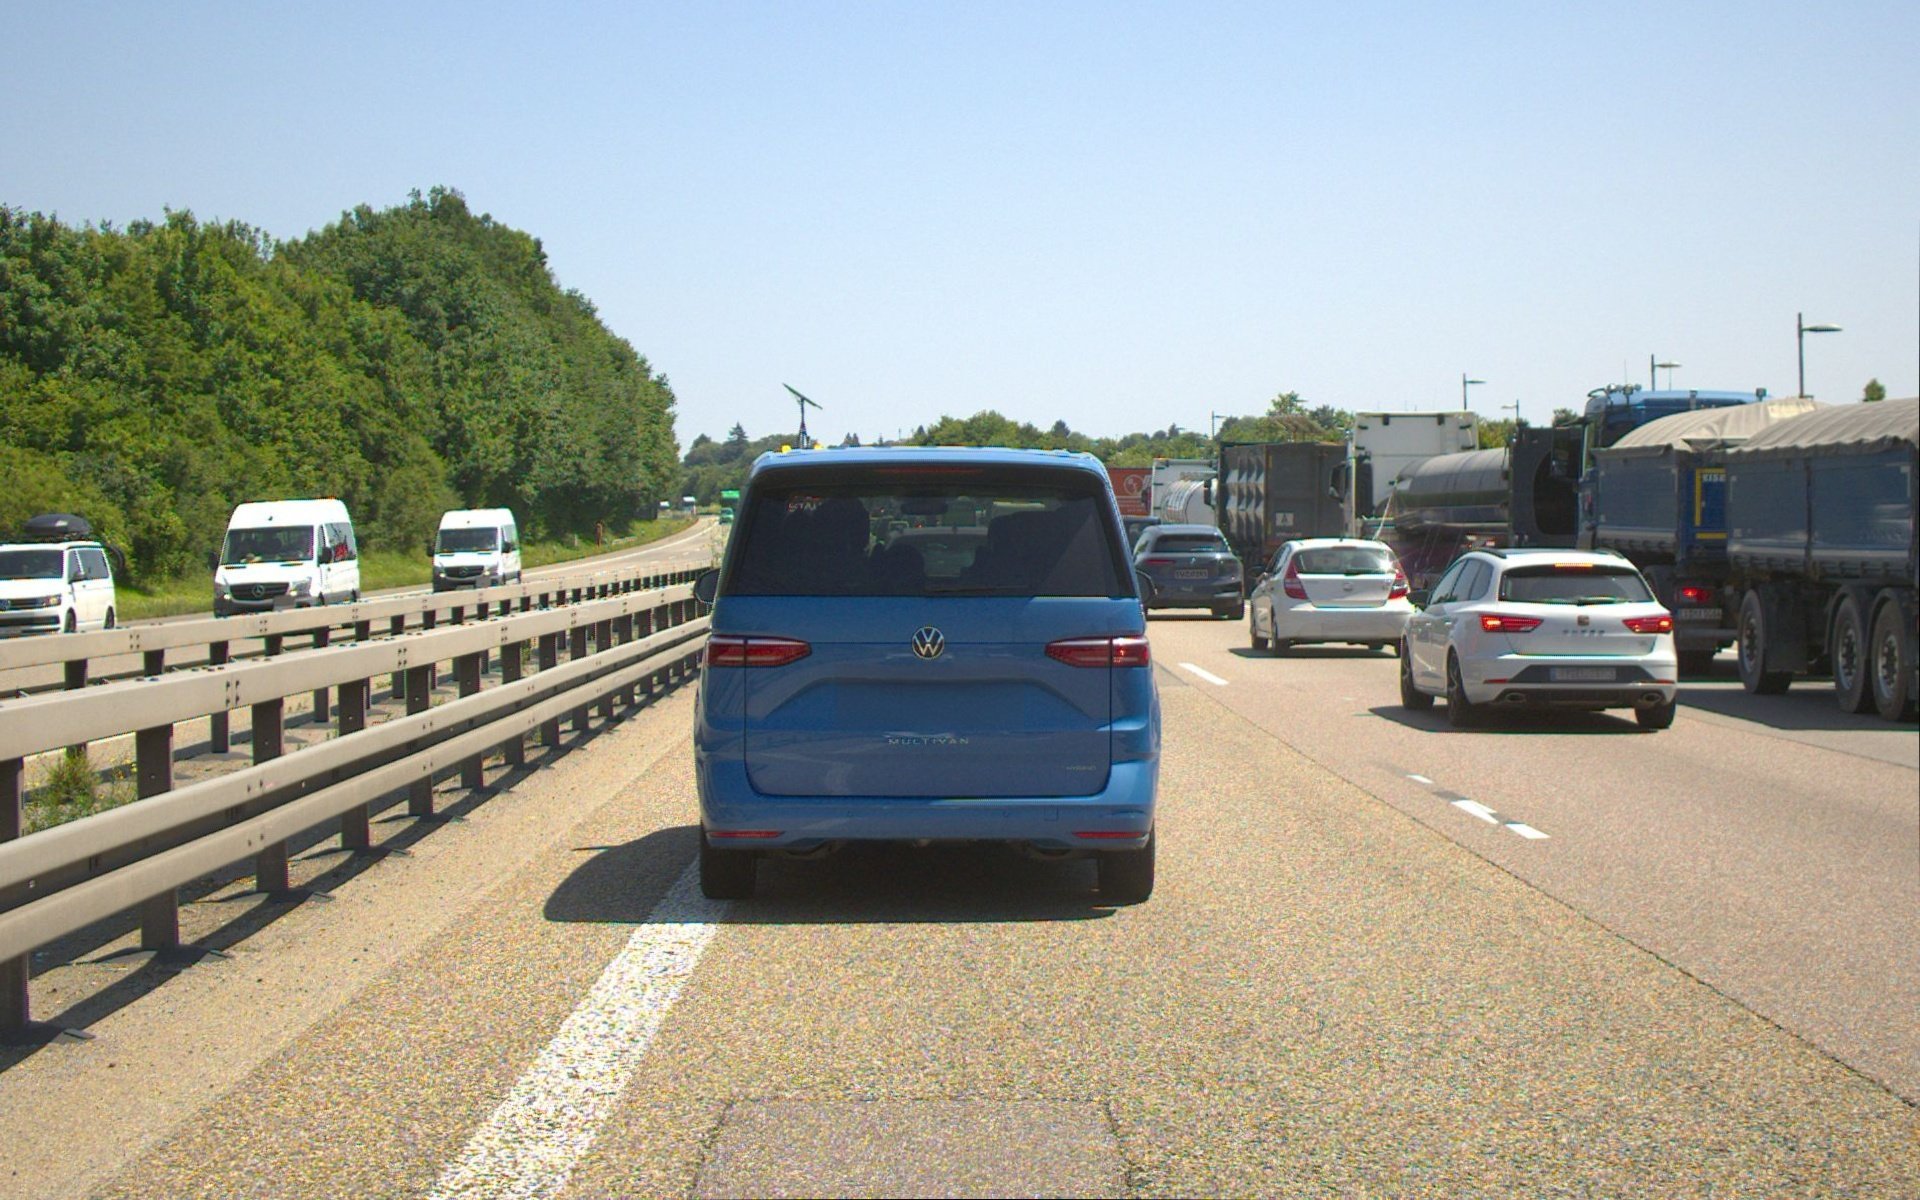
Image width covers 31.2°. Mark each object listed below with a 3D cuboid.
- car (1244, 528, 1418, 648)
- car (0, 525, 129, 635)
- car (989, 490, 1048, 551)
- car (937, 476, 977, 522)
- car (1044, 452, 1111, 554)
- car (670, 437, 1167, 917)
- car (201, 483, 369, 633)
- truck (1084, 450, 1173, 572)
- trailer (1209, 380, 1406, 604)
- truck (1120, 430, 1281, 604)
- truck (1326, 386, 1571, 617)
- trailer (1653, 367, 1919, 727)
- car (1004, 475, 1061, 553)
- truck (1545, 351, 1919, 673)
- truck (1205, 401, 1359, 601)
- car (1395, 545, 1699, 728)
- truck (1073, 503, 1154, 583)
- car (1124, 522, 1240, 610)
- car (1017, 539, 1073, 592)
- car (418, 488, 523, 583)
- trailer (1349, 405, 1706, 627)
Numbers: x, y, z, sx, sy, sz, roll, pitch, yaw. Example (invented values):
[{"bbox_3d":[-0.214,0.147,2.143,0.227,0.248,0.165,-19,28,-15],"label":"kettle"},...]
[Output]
[{"bbox_3d":[4.716,-0.159,44.162,1.840,1.449,4.000,1,0,1],"label":"car"},{"bbox_3d":[-16.920,-0.370,63.540,1.864,1.898,5.493,-2,1,-2],"label":"car"},{"bbox_3d":[2.671,-3.651,158.867,2.550,2.708,5.621,1,0,0],"label":"car"},{"bbox_3d":[-0.230,-7.468,255.174,2.485,3.193,7.373,1,0,-3],"label":"car"},{"bbox_3d":[6.238,-5.106,183.456,3.218,5.239,8.144,1,0,0],"label":"car"},{"bbox_3d":[-0.125,0.280,15.311,1.901,1.831,4.000,1,0,1],"label":"car"},{"bbox_3d":[-13.096,-0.812,67.054,2.052,2.642,5.839,-4,1,-1],"label":"car"},{"bbox_3d":[7.014,-3.656,144.866,3.068,4.903,10.691,1,0,-1],"label":"truck"},{"bbox_3d":[8.494,-2.539,85.838,3.646,5.118,13.076,1,0,0],"label":"trailer"},{"bbox_3d":[7.626,-2.568,111.622,3.621,5.195,15.690,1,0,-2],"label":"truck"},{"bbox_3d":[9.142,-1.790,65.265,3.626,4.080,7.524,1,0,1],"label":"truck"},{"bbox_3d":[8.687,-0.546,31.561,2.743,2.827,9.116,1,2,0],"label":"trailer"},{"bbox_3d":[4.972,-5.901,237.689,3.218,5.239,8.145,1,0,-4],"label":"car"},{"bbox_3d":[8.688,-1.025,39.219,2.743,3.300,7.133,1,2,0],"label":"truck"},{"bbox_3d":[8.578,-2.599,92.393,3.659,5.162,5.708,1,0,1],"label":"truck"},{"bbox_3d":[4.732,0.246,28.259,1.867,1.356,4.000,1,1,1],"label":"car"},{"bbox_3d":[3.669,-1.362,82.784,1.725,1.851,4.000,1,0,0],"label":"truck"},{"bbox_3d":[3.972,-0.608,61.976,1.781,1.519,4.000,1,0,0],"label":"car"},{"bbox_3d":[3.256,-1.326,132.197,1.993,2.007,4.000,1,0,0],"label":"car"},{"bbox_3d":[-13.890,-1.802,97.932,2.156,2.585,5.890,-1,0,-1],"label":"car"},{"bbox_3d":[8.838,-1.248,56.032,3.646,3.068,15.771,1,0,2],"label":"trailer"}]
